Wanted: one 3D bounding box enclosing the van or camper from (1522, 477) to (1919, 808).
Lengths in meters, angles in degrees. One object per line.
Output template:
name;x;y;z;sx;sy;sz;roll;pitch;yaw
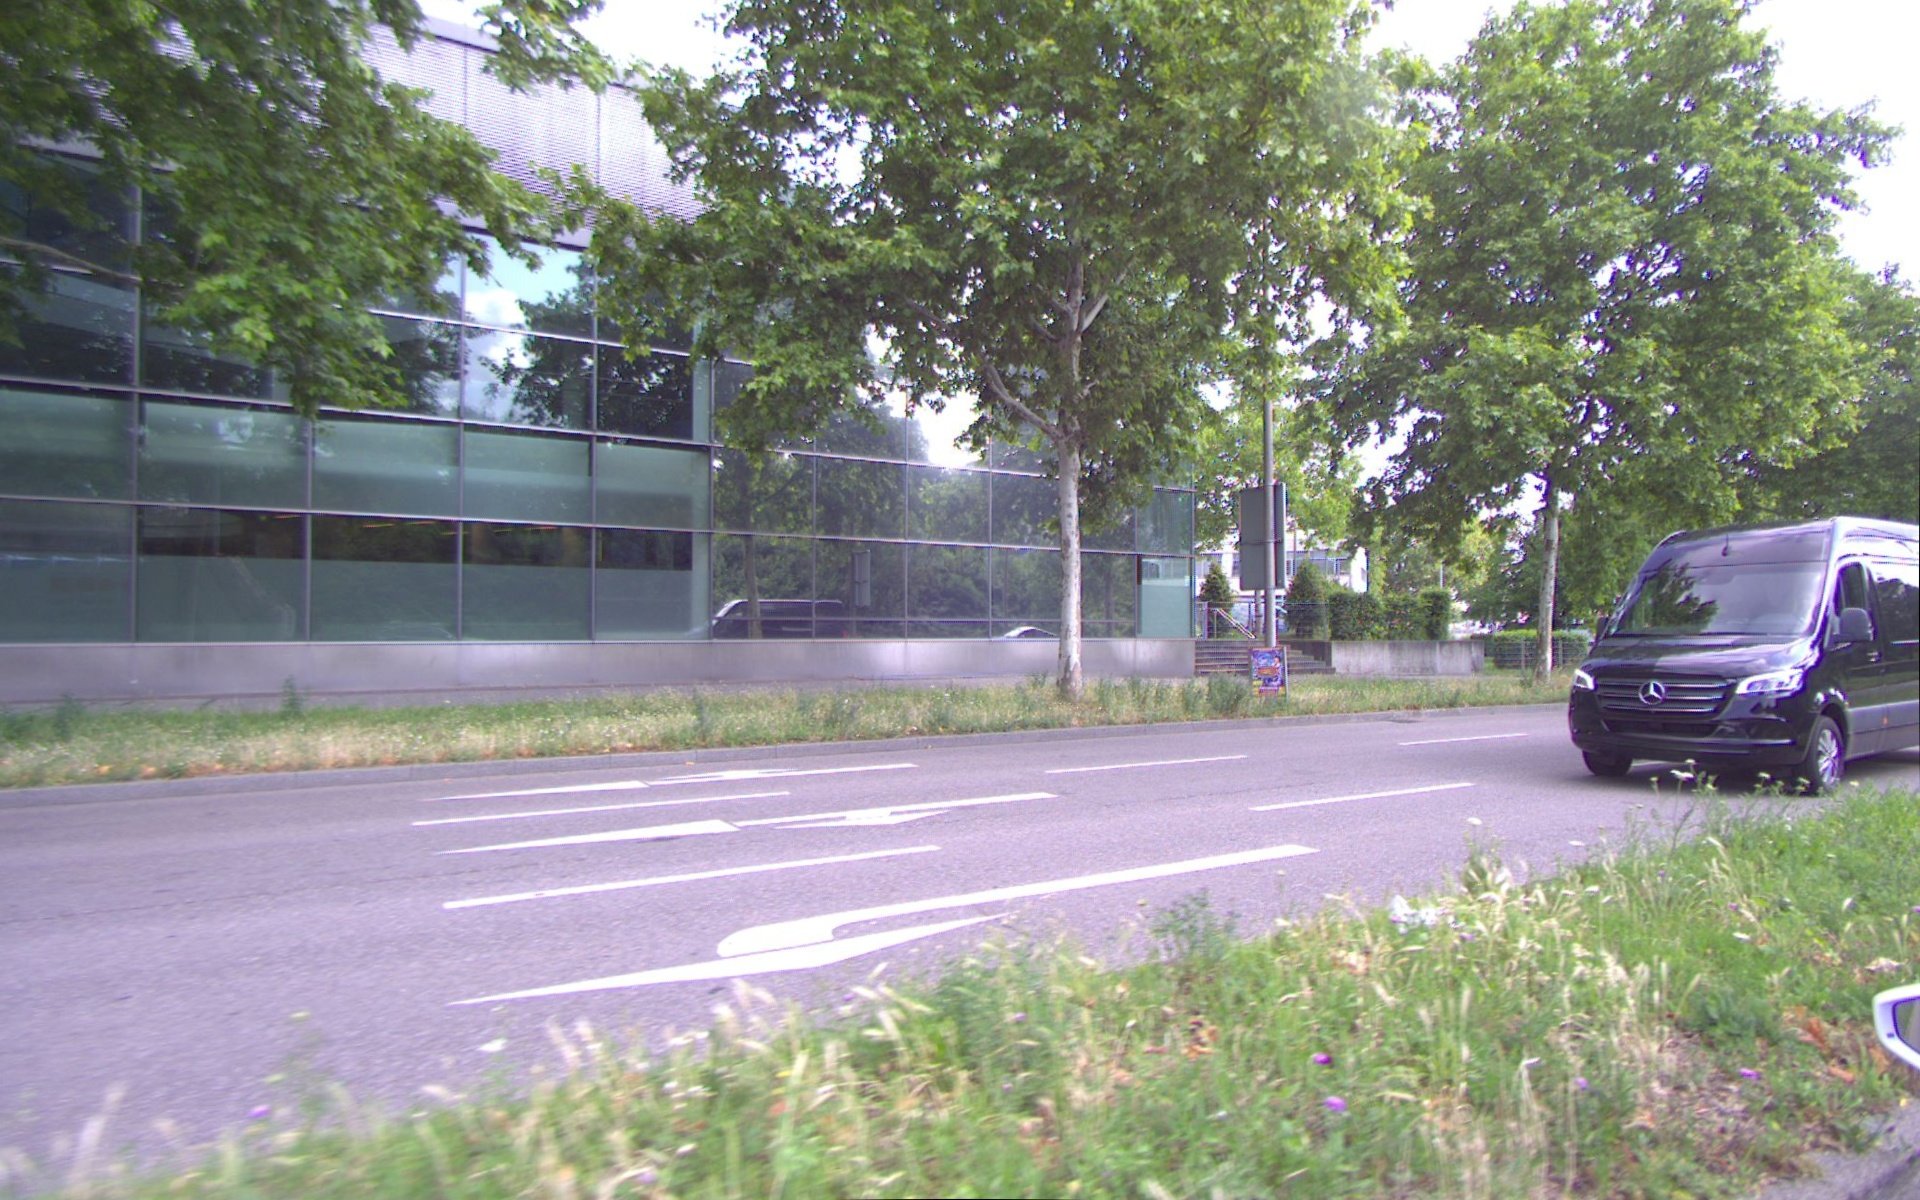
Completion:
van or camper;8.958;0.455;10.874;6.644;2.694;2.093;1;-3;-33

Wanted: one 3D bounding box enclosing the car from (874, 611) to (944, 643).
car;-3.251;1.724;63.980;3.923;1.728;2.000;3;-3;23
